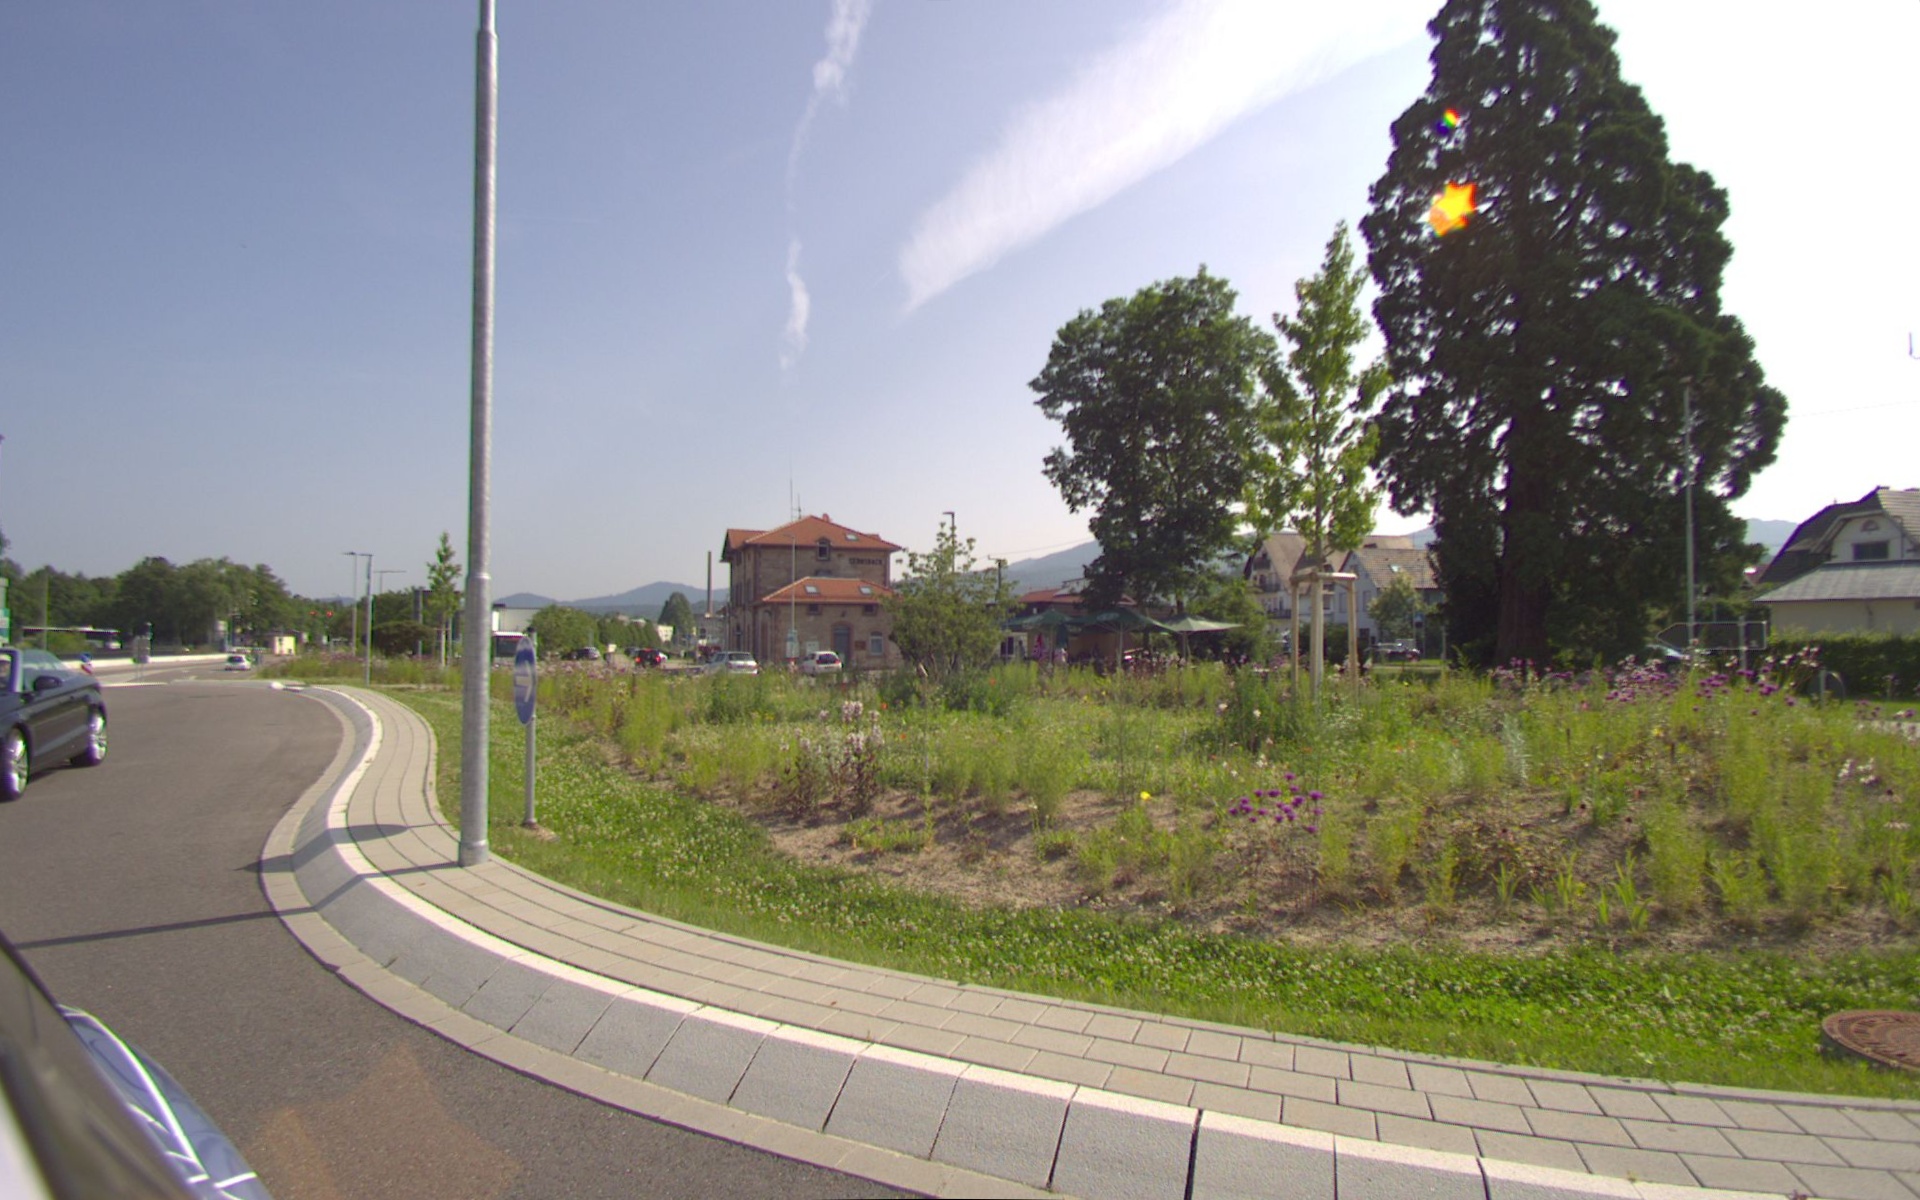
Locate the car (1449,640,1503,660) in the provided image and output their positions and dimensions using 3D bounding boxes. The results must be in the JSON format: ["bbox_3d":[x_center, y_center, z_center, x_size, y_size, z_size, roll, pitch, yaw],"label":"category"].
[{"bbox_3d":[33.117,3.206,64.936,3.130,1.106,1.384,-2,0,-24],"label":"car"}]

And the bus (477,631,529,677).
[{"bbox_3d":[-36.793,4.294,81.264,2.544,3.354,10.620,-1,-2,-30],"label":"bus"}]

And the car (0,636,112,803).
[{"bbox_3d":[-9.516,1.059,9.432,1.693,1.332,4.237,-1,-1,-29],"label":"car"}]

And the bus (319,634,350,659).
[{"bbox_3d":[-82.638,6.143,133.867,2.820,3.216,9.146,0,-2,-27],"label":"bus"}]

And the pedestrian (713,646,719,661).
[{"bbox_3d":[-19.958,4.364,82.728,0.365,1.171,0.508,-2,-2,-20],"label":"pedestrian"}]

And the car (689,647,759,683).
[{"bbox_3d":[-10.833,2.945,46.311,1.648,1.543,4.009,3,-4,-36],"label":"car"}]

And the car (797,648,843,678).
[{"bbox_3d":[-8.370,3.729,60.221,1.650,1.580,3.663,-2,0,-26],"label":"car"}]

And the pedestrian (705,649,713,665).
[{"bbox_3d":[-19.369,4.377,77.953,0.503,1.171,0.508,-2,-2,-20],"label":"pedestrian"}]

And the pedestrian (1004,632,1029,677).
[{"bbox_3d":[2.625,2.536,46.938,0.707,2.029,0.848,-3,-2,35],"label":"pedestrian"}]

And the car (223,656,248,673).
[{"bbox_3d":[-66.781,5.946,93.315,1.752,1.409,4.010,-1,-2,-34],"label":"car"}]

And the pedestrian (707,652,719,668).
[{"bbox_3d":[-18.444,4.478,75.520,0.777,1.171,0.508,-2,-2,-20],"label":"pedestrian"}]

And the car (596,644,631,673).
[{"bbox_3d":[-26.332,4.411,77.078,1.946,1.980,5.170,-2,-1,-12],"label":"car"}]
